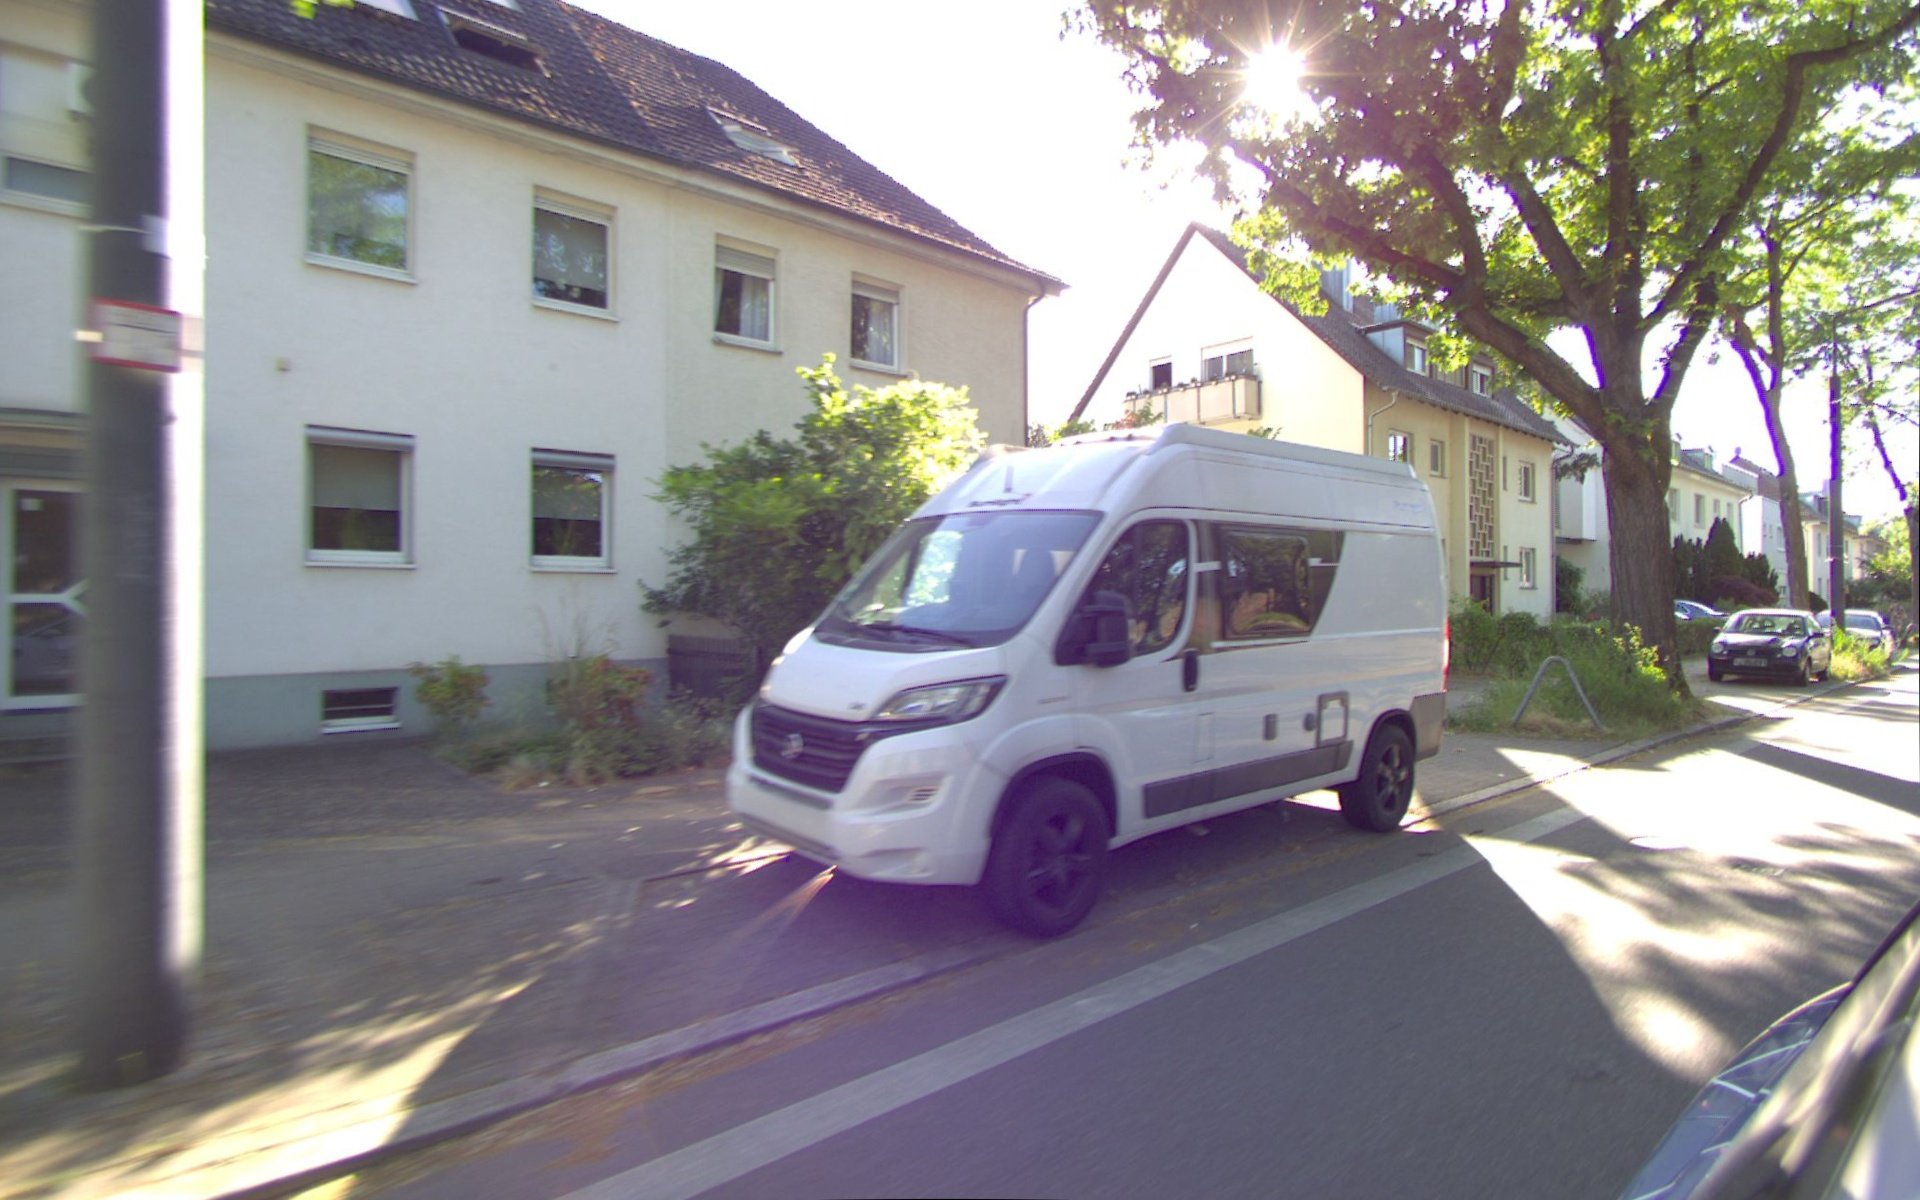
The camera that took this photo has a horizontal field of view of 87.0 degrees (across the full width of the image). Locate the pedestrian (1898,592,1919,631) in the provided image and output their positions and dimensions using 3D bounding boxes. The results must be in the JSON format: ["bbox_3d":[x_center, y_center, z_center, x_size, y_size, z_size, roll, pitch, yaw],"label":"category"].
[{"bbox_3d":[47.304,0.581,50.462,0.719,1.893,0.626,0,2,-42],"label":"pedestrian"}]

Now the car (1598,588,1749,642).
[{"bbox_3d":[22.918,0.429,32.584,3.740,1.508,1.712,3,2,44],"label":"car"}]

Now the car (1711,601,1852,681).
[{"bbox_3d":[16.805,0.777,20.655,3.582,1.415,1.630,0,2,-41],"label":"car"}]

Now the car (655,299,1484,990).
[{"bbox_3d":[1.102,0.141,6.603,5.488,2.687,2.249,0,1,-41],"label":"car"}]

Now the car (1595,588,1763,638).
[{"bbox_3d":[25.158,0.411,35.543,1.824,1.508,4.434,0,2,-38],"label":"car"}]

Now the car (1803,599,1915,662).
[{"bbox_3d":[24.043,0.756,27.023,4.228,1.466,1.787,0,2,-43],"label":"car"}]
